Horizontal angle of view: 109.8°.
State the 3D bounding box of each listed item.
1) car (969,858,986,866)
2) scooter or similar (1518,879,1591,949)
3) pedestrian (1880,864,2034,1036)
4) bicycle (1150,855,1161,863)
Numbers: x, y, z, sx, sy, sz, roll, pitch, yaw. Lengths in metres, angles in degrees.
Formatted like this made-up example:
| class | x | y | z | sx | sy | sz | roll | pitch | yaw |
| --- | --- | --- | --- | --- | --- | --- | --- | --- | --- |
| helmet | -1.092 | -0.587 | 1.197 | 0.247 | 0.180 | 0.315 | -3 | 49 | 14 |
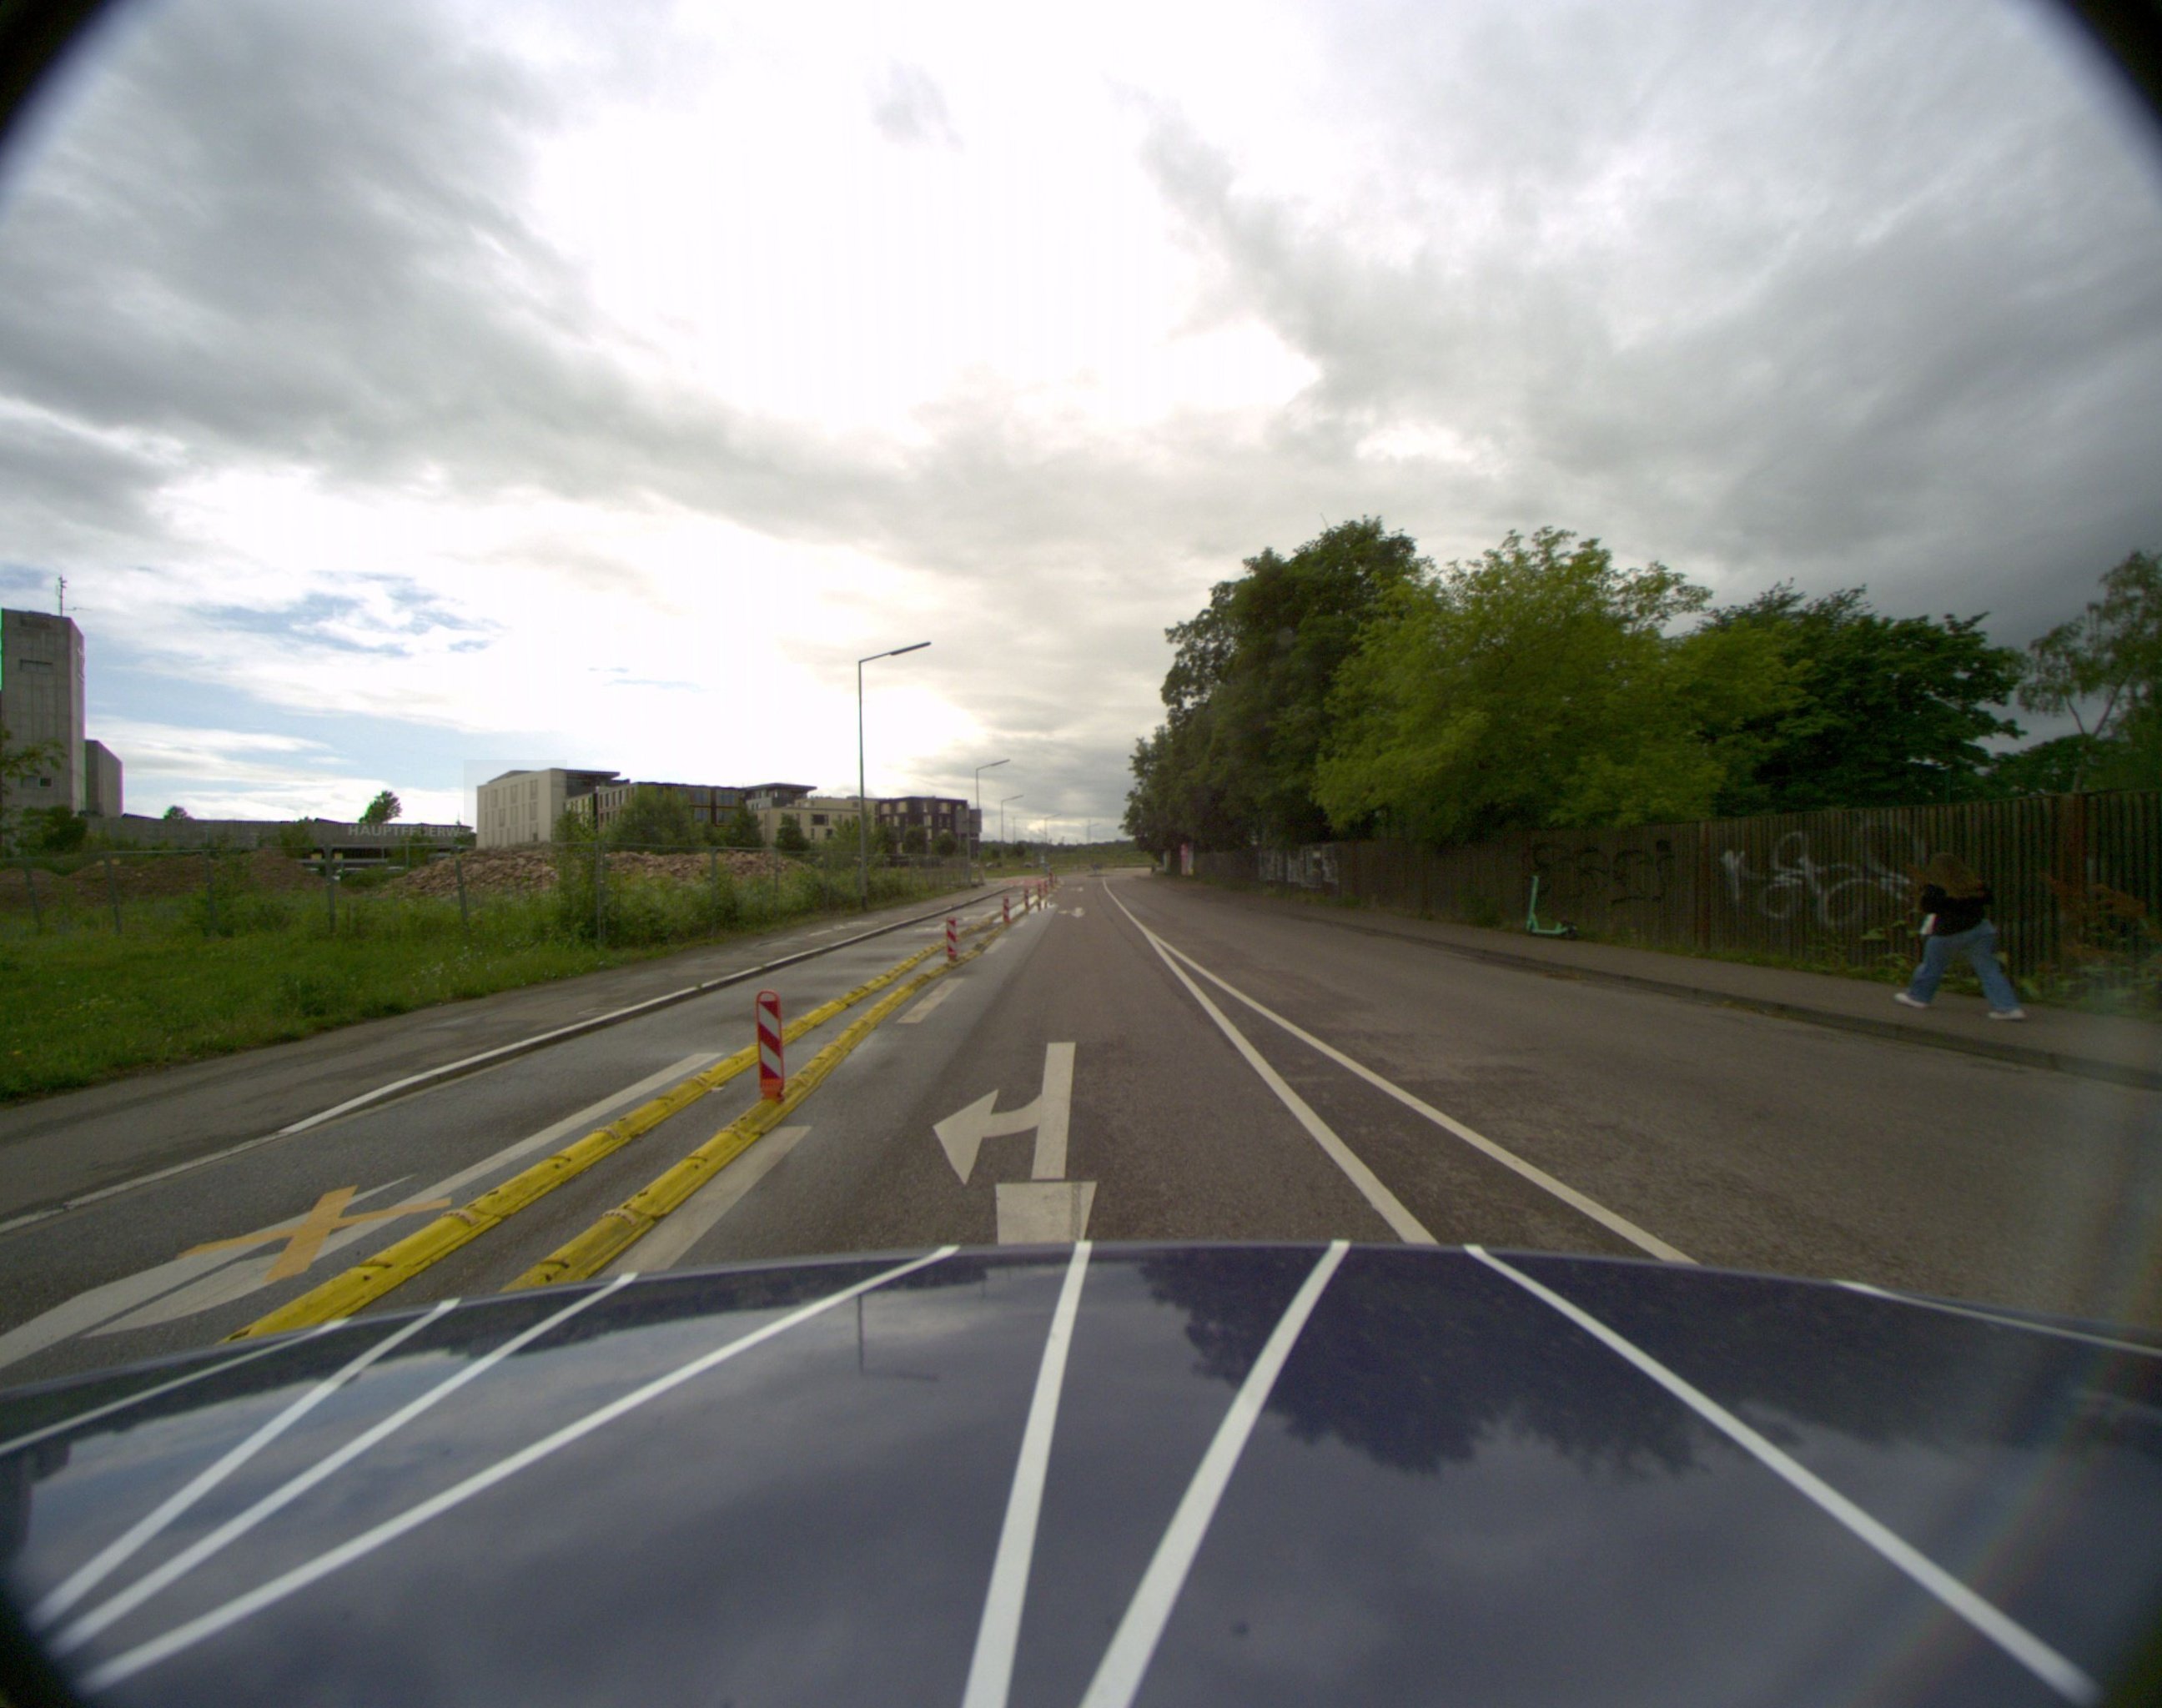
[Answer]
| class | x | y | z | sx | sy | sz | roll | pitch | yaw |
| --- | --- | --- | --- | --- | --- | --- | --- | --- | --- |
| car | -26.357 | 2.039 | 193.520 | 1.994 | 2.002 | 4.009 | -1 | 0 | 42 |
| scooter or similar | 8.574 | 1.059 | 13.802 | 0.424 | 1.164 | 1.303 | -1 | 0 | -5 |
| pedestrian | 8.201 | 0.856 | 7.144 | 0.614 | 1.520 | 0.724 | -1 | 0 | -4 |
| bicycle | 8.986 | 0.608 | 91.480 | 0.583 | 0.992 | 1.773 | -3 | 0 | 28 |
